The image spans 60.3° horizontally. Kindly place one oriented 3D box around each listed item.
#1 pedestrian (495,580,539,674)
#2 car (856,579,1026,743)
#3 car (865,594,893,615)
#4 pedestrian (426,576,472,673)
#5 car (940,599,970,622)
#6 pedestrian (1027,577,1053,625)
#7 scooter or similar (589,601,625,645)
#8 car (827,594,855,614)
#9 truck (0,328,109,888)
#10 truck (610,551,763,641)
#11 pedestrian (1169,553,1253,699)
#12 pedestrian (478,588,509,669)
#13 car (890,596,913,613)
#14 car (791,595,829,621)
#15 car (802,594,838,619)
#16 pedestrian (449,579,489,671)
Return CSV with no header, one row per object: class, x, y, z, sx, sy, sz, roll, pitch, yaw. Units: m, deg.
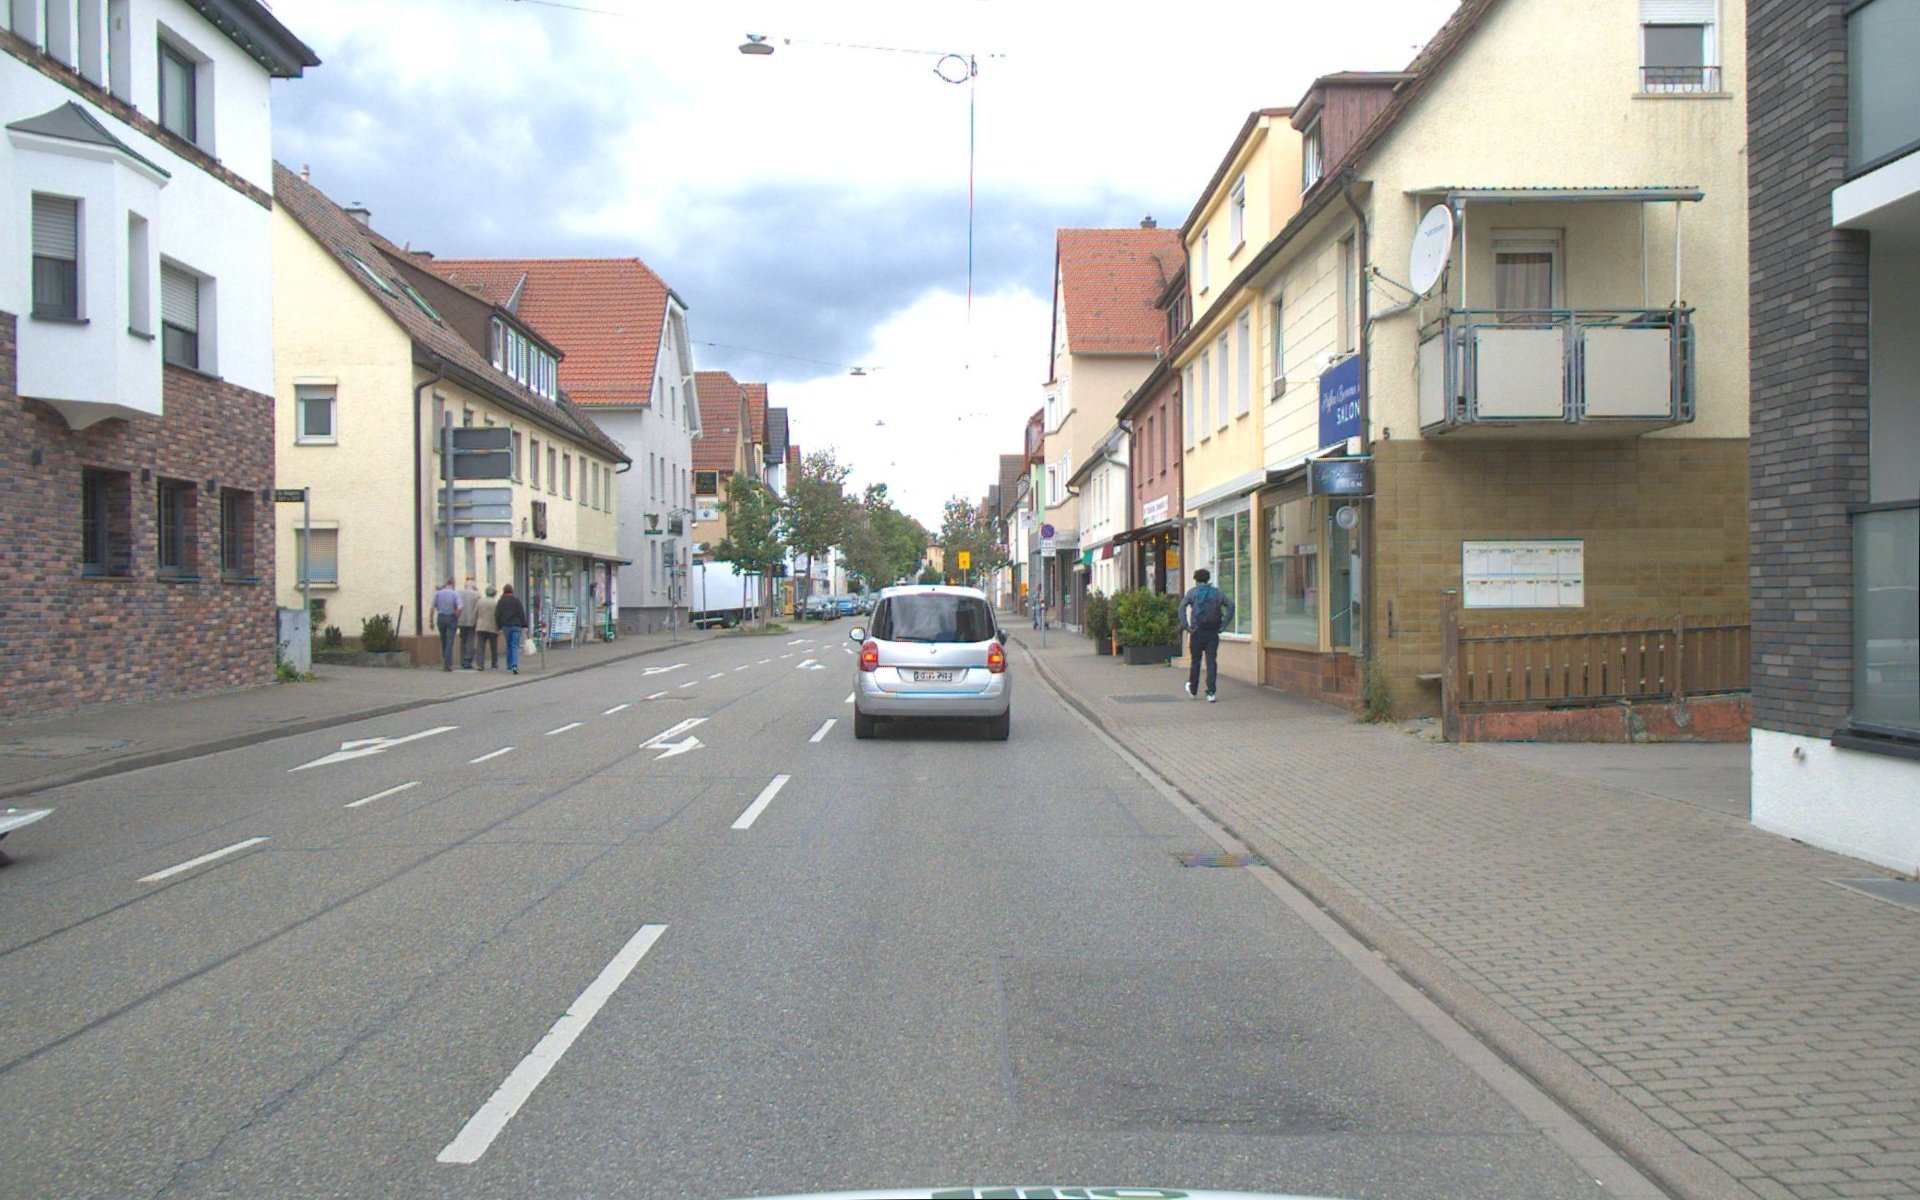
pedestrian,-8.532,0.509,31.879,0.649,1.787,0.687,1,0,-1
car,-0.243,0.604,18.524,1.672,1.606,3.999,1,0,-2
car,-5.626,0.327,114.923,1.776,1.378,3.856,-1,0,-1
pedestrian,-9.638,0.453,31.223,0.634,1.787,0.687,1,0,-1
car,-0.339,0.652,103.010,1.776,1.378,3.999,-1,0,-1
pedestrian,3.094,0.041,64.122,0.871,1.818,0.785,-3,0,-1
scooter or similar,-10.757,0.683,50.509,0.564,1.291,2.548,-1,0,-1
car,-8.595,0.309,119.499,1.776,1.378,3.999,-1,0,-1
truck,-6.253,0.085,5.731,2.386,3.005,8.361,-2,0,-2
truck,-12.361,-0.216,75.261,2.557,3.925,6.810,-1,0,41
pedestrian,3.263,0.327,21.592,0.871,1.818,0.785,-3,0,-1
pedestrian,-9.121,0.549,32.359,0.417,1.552,0.553,1,0,-1
car,-4.980,0.332,141.204,1.776,1.378,3.999,-1,0,-1
car,-8.382,0.446,92.856,1.776,1.378,3.999,-1,0,-1
car,-8.294,0.369,98.143,1.776,1.378,3.999,-1,0,-1
pedestrian,-9.617,0.484,32.418,0.567,1.787,0.687,1,0,-1
